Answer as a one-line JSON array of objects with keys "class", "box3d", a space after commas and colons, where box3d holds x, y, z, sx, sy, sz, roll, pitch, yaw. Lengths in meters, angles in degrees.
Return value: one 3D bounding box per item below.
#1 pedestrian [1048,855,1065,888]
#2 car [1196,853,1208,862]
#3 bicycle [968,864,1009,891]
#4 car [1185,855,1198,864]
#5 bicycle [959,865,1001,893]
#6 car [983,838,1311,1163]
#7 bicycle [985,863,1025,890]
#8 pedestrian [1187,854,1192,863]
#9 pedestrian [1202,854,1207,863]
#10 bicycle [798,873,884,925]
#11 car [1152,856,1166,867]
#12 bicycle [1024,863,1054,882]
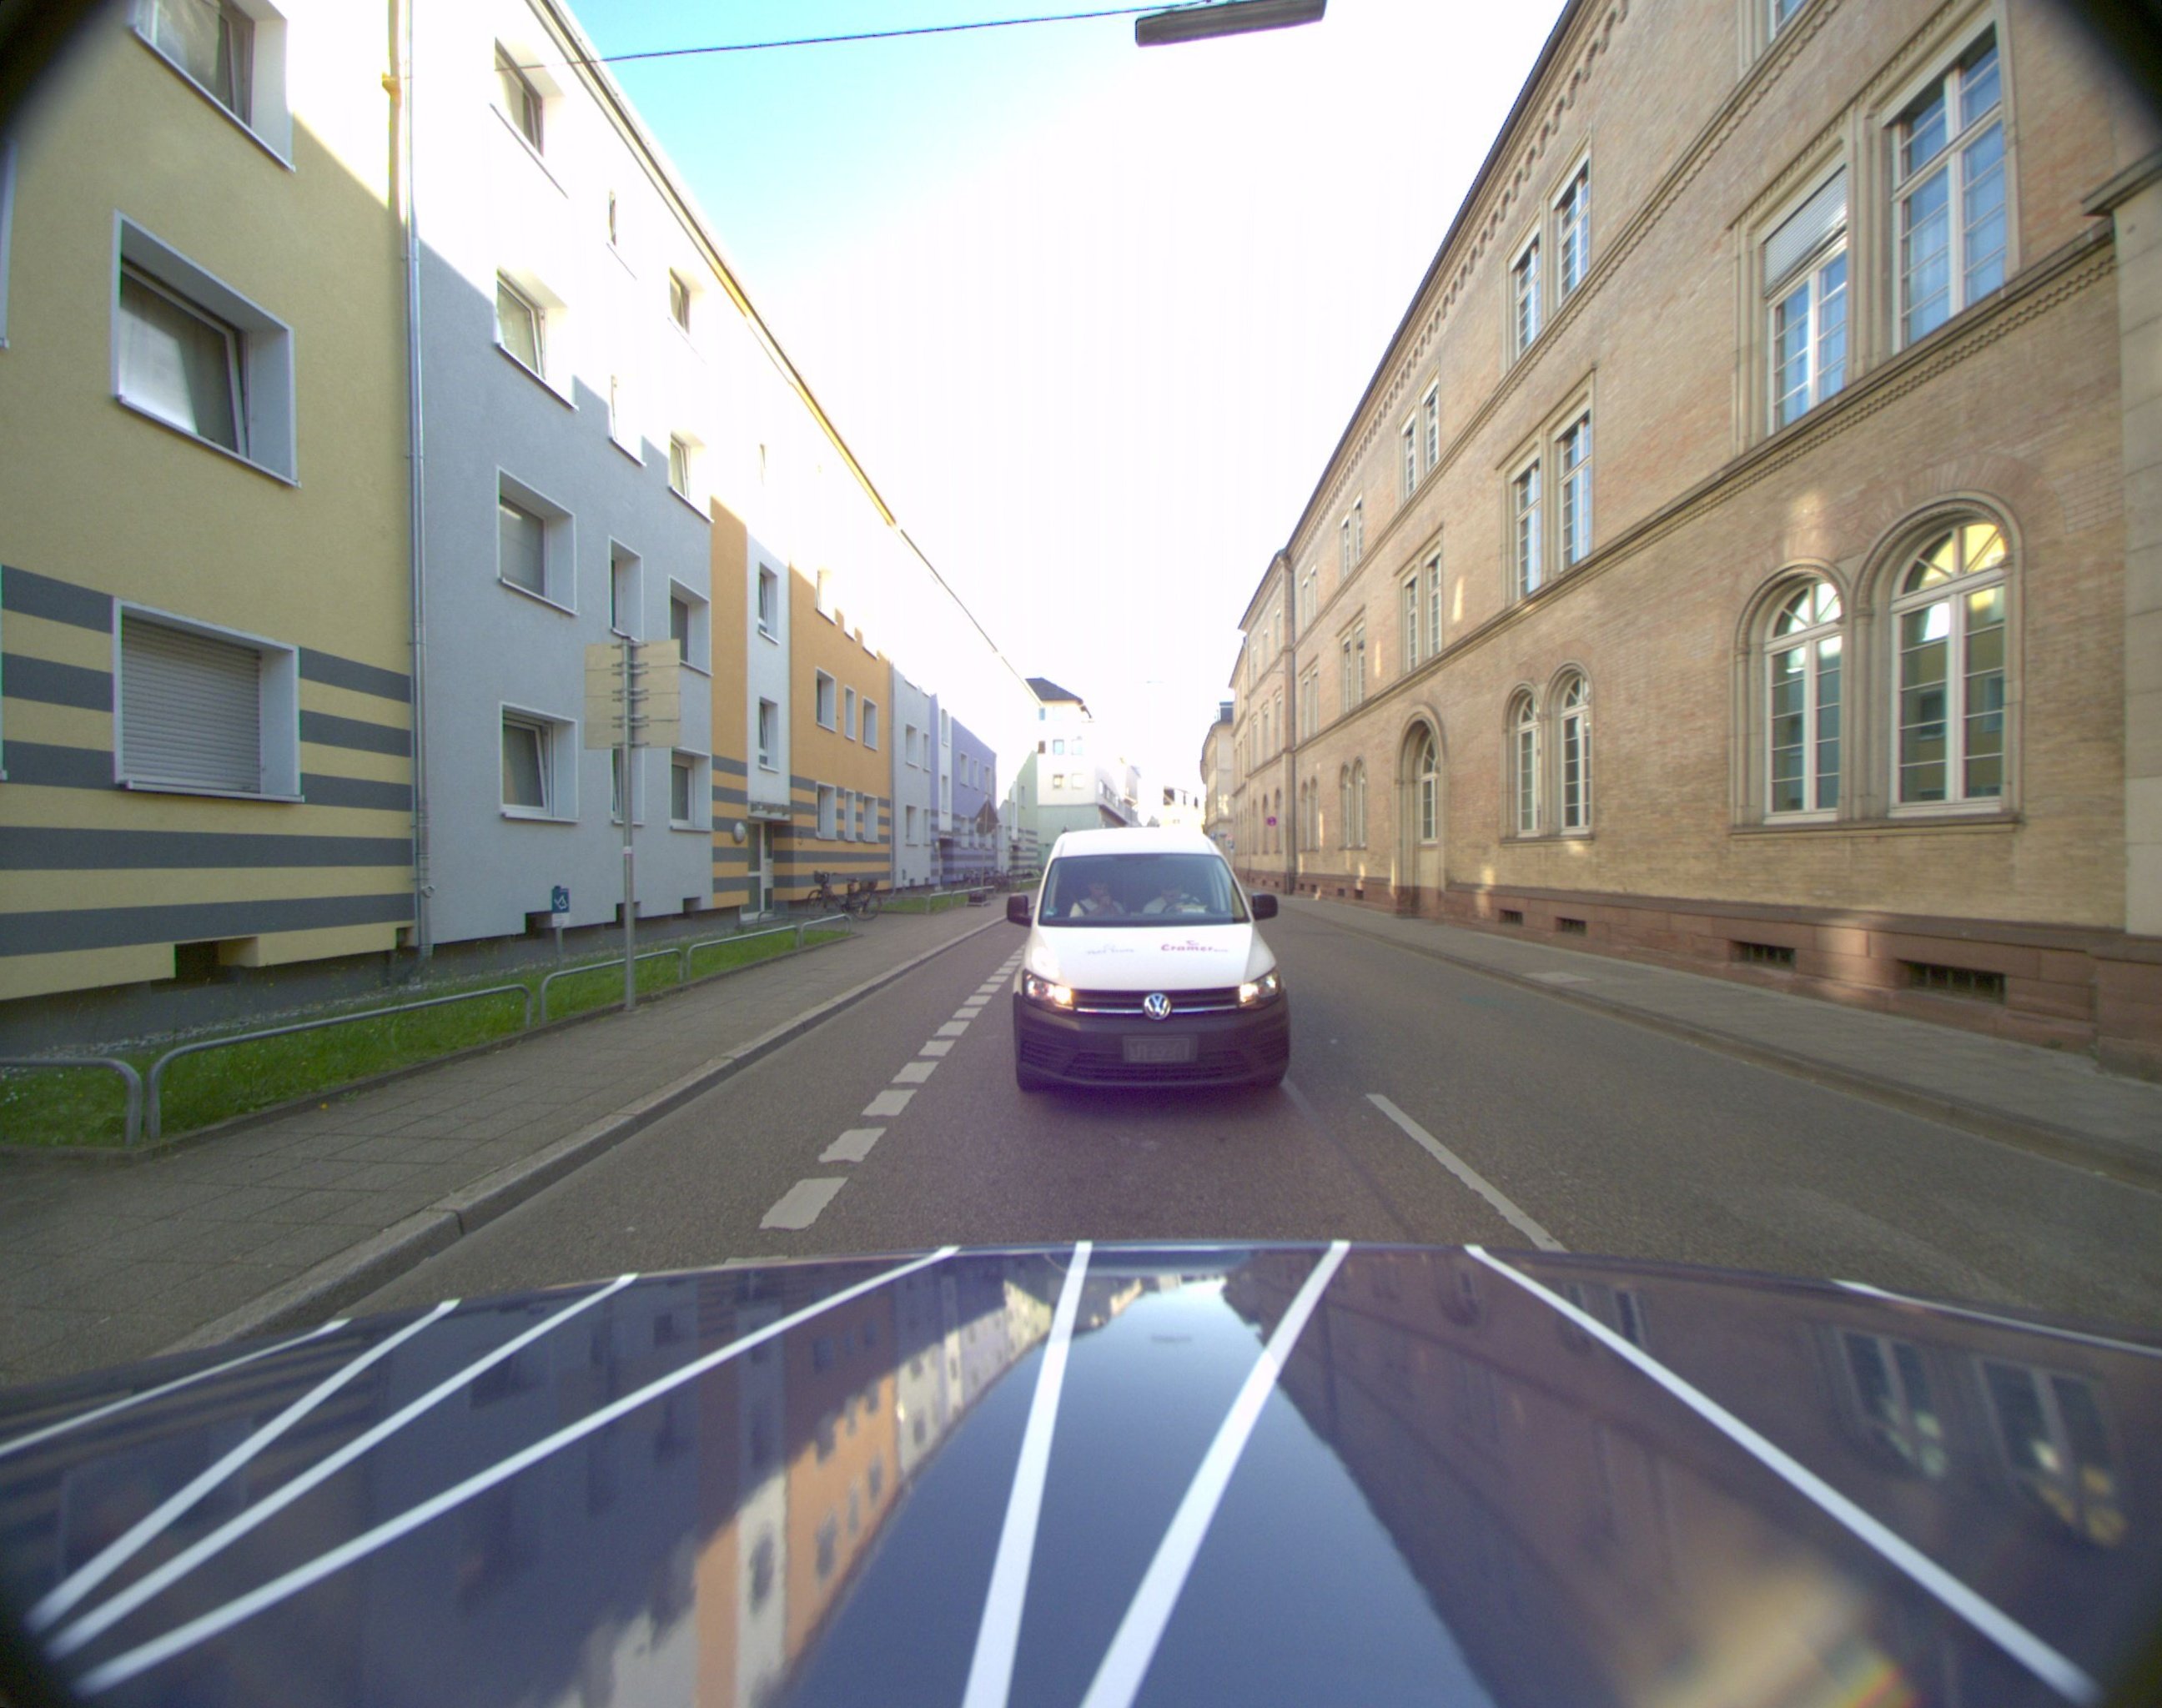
[{"class": "pedestrian", "box3d": [-1.230, 0.865, 37.884, 0.705, 1.627, 0.833, 2, 2, 5]}, {"class": "car", "box3d": [26.091, 0.749, 163.743, 1.996, 1.643, 4.233, -2, 1, 17]}, {"class": "bicycle", "box3d": [-4.030, 1.007, 33.124, 1.676, 1.145, 0.484, 0, 0, 4]}, {"class": "car", "box3d": [22.108, 1.037, 152.012, 1.996, 1.643, 4.233, -2, 1, 17]}, {"class": "bicycle", "box3d": [-4.234, 1.034, 31.831, 1.676, 1.145, 0.484, 0, 0, 4]}, {"class": "car", "box3d": [0.398, 0.771, 6.808, 1.769, 1.761, 5.331, -1, 1, 1]}, {"class": "bicycle", "box3d": [-3.371, 0.990, 33.670, 1.676, 1.145, 0.484, 0, 0, 4]}, {"class": "pedestrian", "box3d": [19.522, 0.858, 136.406, 0.705, 1.627, 0.833, 3, 2, 12]}, {"class": "pedestrian", "box3d": [24.463, 0.887, 150.432, 0.704, 1.627, 0.833, 3, 2, 14]}, {"class": "bicycle", "box3d": [-5.383, 1.005, 17.094, 1.780, 1.116, 0.484, 0, 0, -5]}, {"class": "car", "box3d": [12.647, 1.154, 122.690, 1.997, 1.643, 4.231, -2, 1, 9]}, {"class": "bicycle", "box3d": [-2.514, 1.137, 46.041, 1.779, 1.145, 0.484, 0, 0, 0]}]
